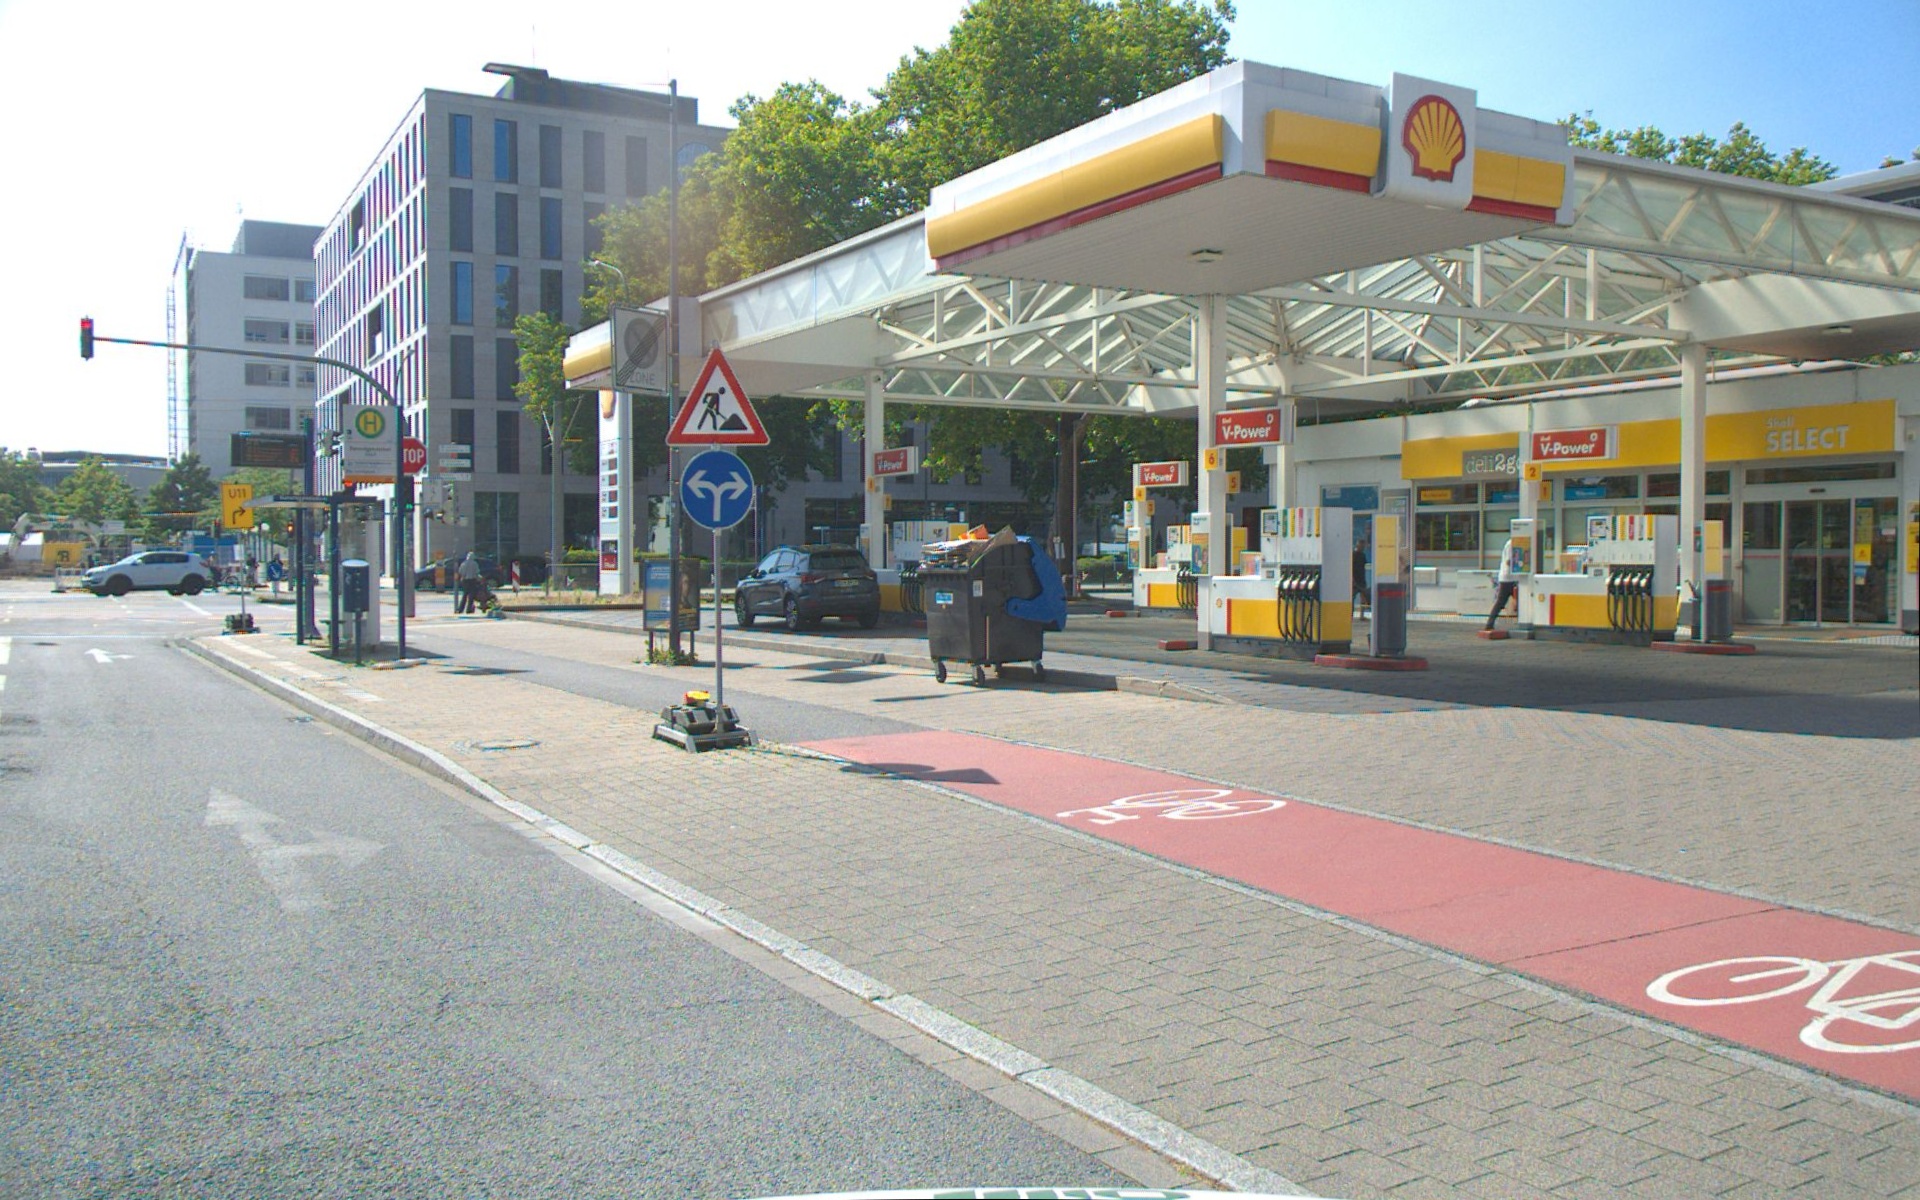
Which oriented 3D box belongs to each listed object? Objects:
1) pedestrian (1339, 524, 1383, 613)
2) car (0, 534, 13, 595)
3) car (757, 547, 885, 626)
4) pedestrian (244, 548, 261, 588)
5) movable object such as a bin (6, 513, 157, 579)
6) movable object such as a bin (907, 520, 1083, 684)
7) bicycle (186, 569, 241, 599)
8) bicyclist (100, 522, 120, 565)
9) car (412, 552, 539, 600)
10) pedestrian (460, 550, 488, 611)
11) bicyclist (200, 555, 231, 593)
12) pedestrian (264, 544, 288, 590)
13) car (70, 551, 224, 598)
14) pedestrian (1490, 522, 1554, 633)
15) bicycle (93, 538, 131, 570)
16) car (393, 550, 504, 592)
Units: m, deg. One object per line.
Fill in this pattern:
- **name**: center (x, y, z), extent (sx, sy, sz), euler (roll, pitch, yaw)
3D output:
- **pedestrian**: center (8.379, -0.657, 34.547), extent (0.664, 1.853, 0.626), euler (0, 1, -23)
- **car**: center (-33.427, -1.150, 53.472), extent (1.951, 2.048, 4.874), euler (0, 1, 16)
- **car**: center (-2.716, -0.286, 31.676), extent (1.625, 1.422, 3.622), euler (-1, 1, -19)
- **pedestrian**: center (-32.548, -1.465, 76.096), extent (0.526, 1.802, 0.708), euler (-1, 1, -43)
- **movable object such as a bin**: center (-63.809, -3.881, 120.426), extent (9.566, 4.629, 3.135), euler (0, 1, -29)
- **movable object such as a bin**: center (0.360, -0.006, 17.633), extent (1.295, 1.619, 1.380), euler (-4, 3, -32)
- **bicycle**: center (-33.623, -0.730, 74.505), extent (2.197, 1.307, 0.521), euler (0, 1, -22)
- **bicyclist**: center (-52.791, -3.500, 102.742), extent (1.055, 2.619, 0.821), euler (0, 1, -24)
- **car**: center (-17.022, -0.860, 58.150), extent (3.947, 1.609, 1.824), euler (-1, 2, -31)
- **pedestrian**: center (-12.738, -0.510, 43.358), extent (0.612, 1.570, 0.457), euler (0, 1, -31)
- **bicyclist**: center (-33.552, -1.167, 74.530), extent (1.222, 1.702, 0.521), euler (0, 1, -22)
- **pedestrian**: center (-30.948, -1.493, 74.833), extent (0.762, 2.048, 0.777), euler (0, 1, -1)
- **car**: center (-30.171, -0.954, 61.462), extent (4.829, 1.665, 1.970), euler (-1, 2, -42)
- **pedestrian**: center (9.647, -0.397, 28.403), extent (0.842, 1.869, 0.742), euler (1, 1, 39)
- **bicycle**: center (-52.707, -2.858, 102.776), extent (2.060, 1.996, 0.821), euler (0, 1, -24)
- **car**: center (-21.151, -1.203, 68.406), extent (4.067, 1.667, 1.980), euler (-1, 2, -30)
